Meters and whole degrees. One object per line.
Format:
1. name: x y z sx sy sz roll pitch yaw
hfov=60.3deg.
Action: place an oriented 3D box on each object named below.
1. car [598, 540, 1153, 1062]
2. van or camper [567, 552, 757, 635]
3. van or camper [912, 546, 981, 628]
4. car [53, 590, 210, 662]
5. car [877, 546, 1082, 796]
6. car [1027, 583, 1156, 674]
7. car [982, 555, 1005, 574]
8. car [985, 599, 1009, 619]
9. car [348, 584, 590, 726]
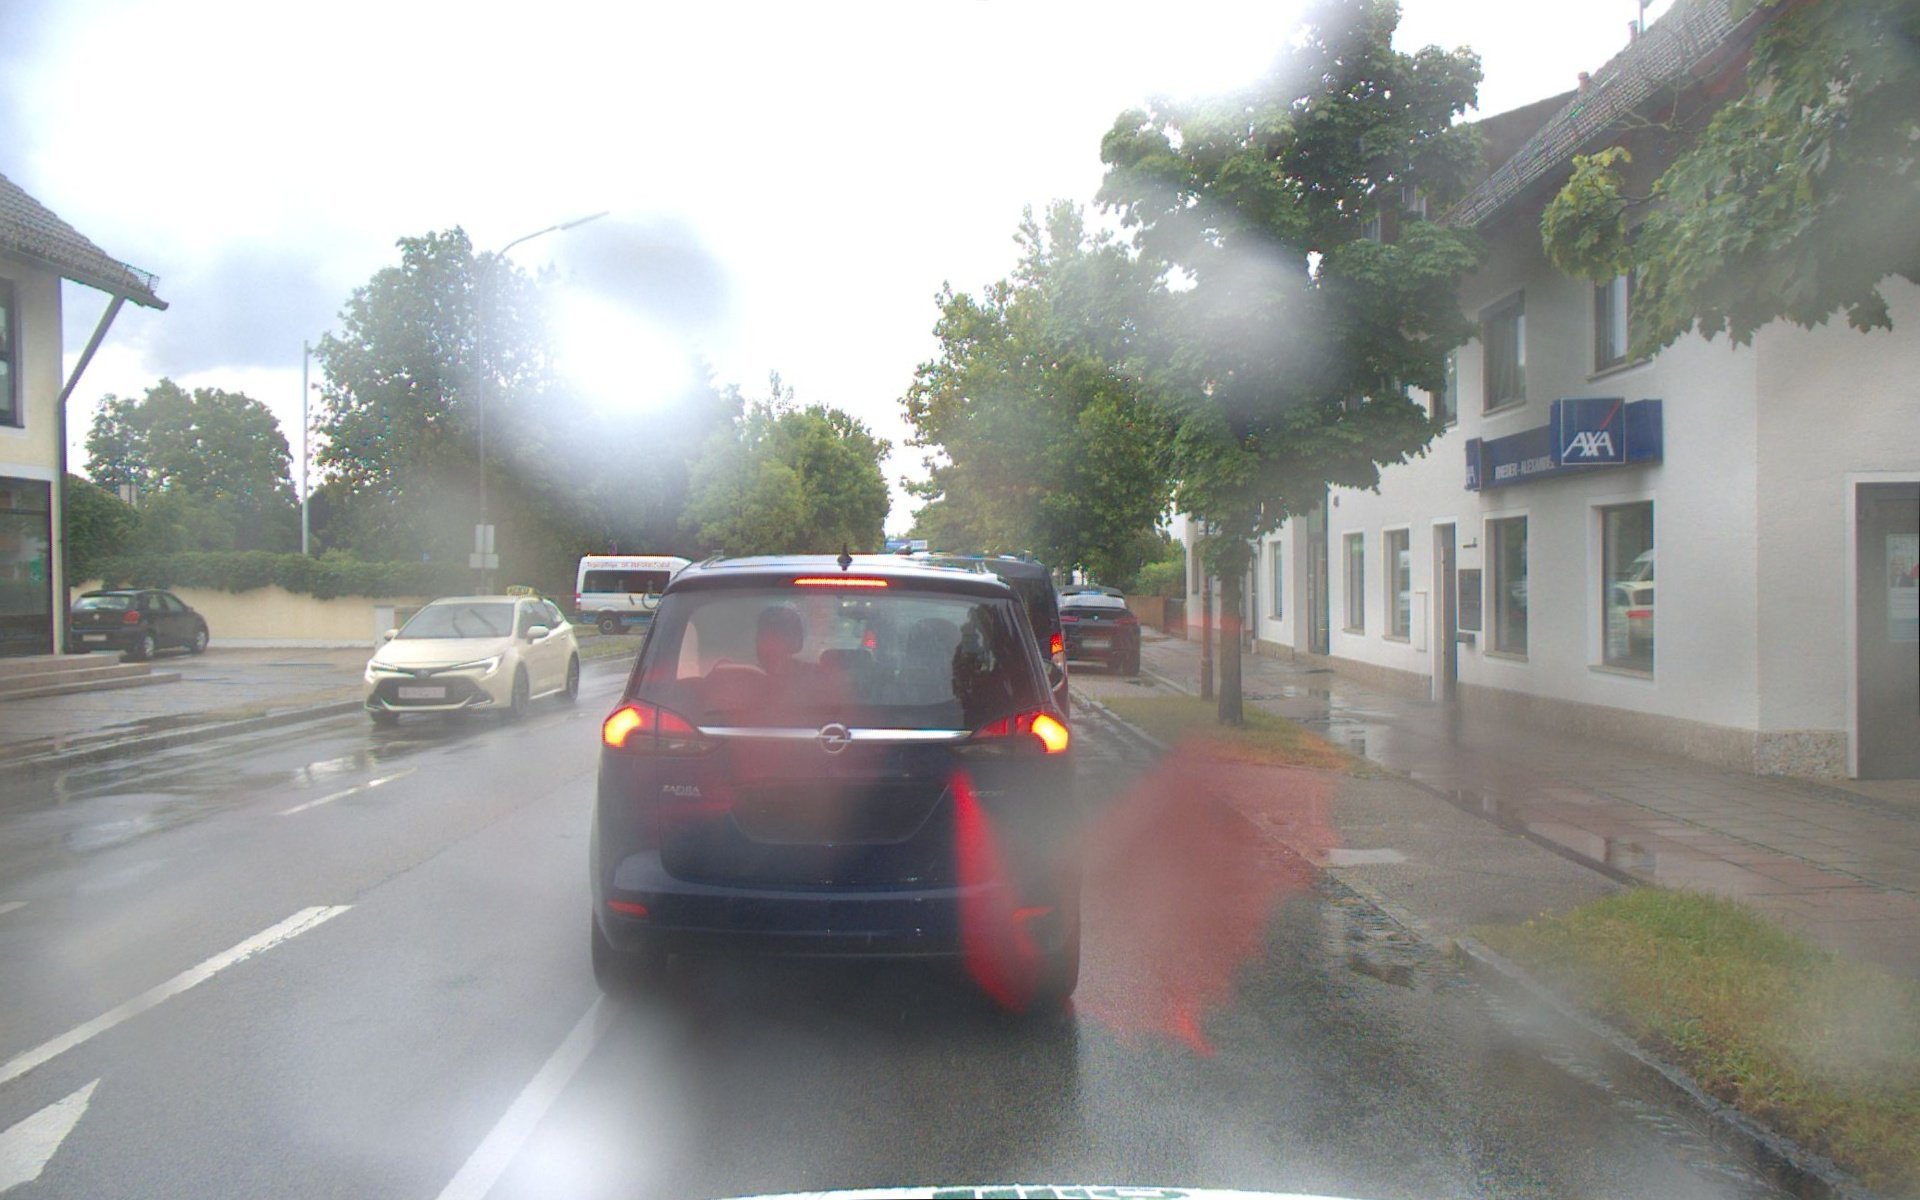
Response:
1. car: -0.288 0.626 7.038 1.733 1.632 3.662 0 0 -1
2. van or camper: -10.231 -0.238 57.040 6.119 2.754 2.101 -1 0 0
3. van or camper: -0.491 -0.454 58.098 2.312 2.712 5.370 -1 0 -1
4. car: -17.500 0.514 35.090 1.574 1.404 3.508 -2 0 -1
5. car: 0.124 0.512 13.639 1.470 1.807 3.111 1 0 -1
6. car: 2.485 0.518 32.132 2.075 1.609 3.934 1 0 -2
7. car: 2.636 -2.815 130.348 1.597 1.402 3.622 -1 0 -1
8. car: 2.673 0.675 120.855 1.597 1.402 3.622 1 0 -1
9. car: -5.970 0.599 20.642 1.716 1.537 4.230 -2 0 0
